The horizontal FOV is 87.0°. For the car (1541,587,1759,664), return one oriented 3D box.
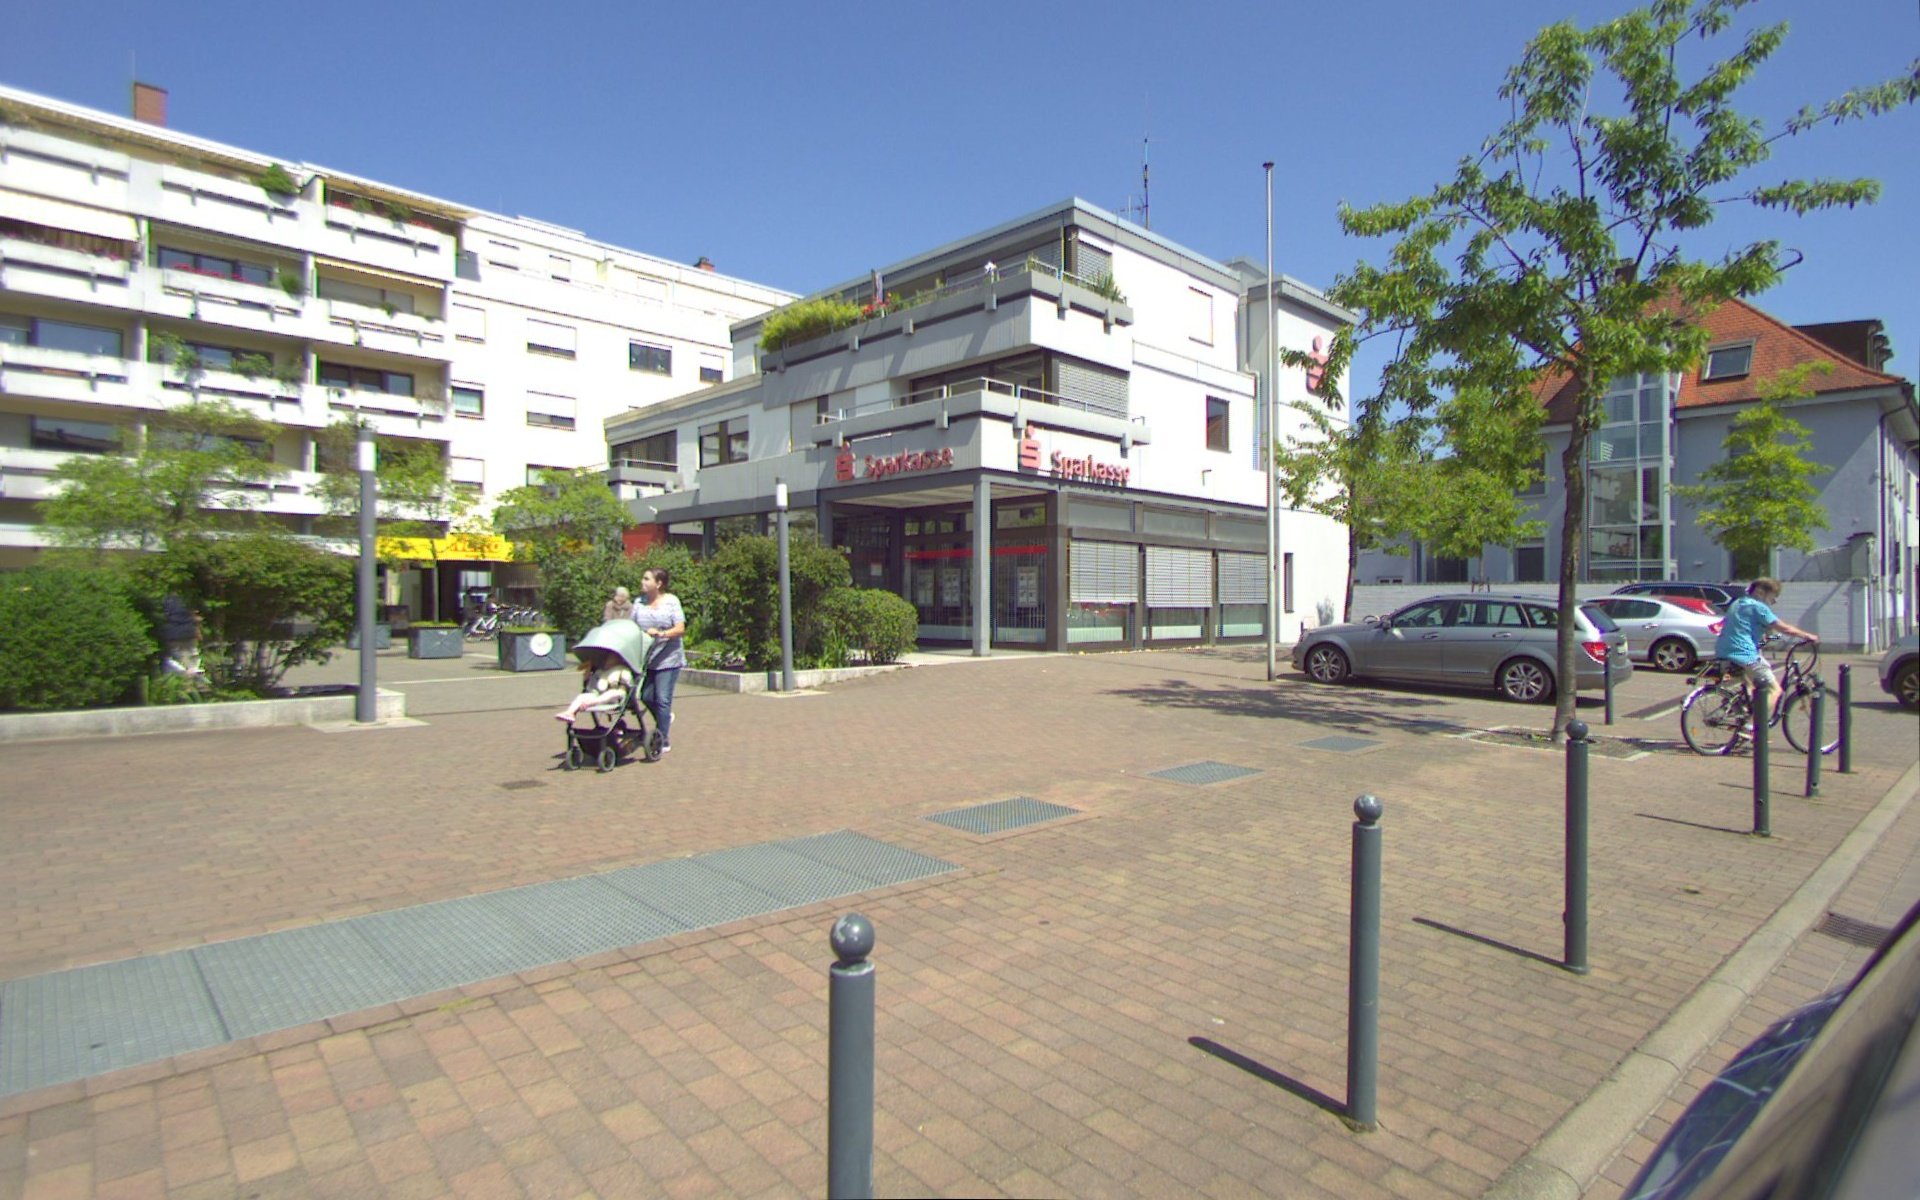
[{"bbox_3d":[15.093,0.494,22.247,3.729,1.470,1.717,2,2,44],"label":"car"}]

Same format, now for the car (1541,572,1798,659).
[{"bbox_3d":[16.651,0.299,23.920,2.111,1.793,4.636,1,1,-43],"label":"car"}]

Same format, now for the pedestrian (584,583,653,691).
[{"bbox_3d":[-5.005,0.525,14.833,0.808,1.516,0.659,-1,-1,43],"label":"pedestrian"}]

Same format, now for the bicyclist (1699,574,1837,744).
[{"bbox_3d":[7.590,0.534,9.532,0.746,1.546,0.671,0,0,-5],"label":"bicyclist"}]

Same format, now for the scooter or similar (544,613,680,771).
[{"bbox_3d":[-2.656,0.669,7.825,0.617,1.120,1.042,0,0,6],"label":"scooter or similar"}]

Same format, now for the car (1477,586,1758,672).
[{"bbox_3d":[13.223,0.507,20.541,4.536,1.458,1.811,3,2,44],"label":"car"}]

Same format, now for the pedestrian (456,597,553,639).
[{"bbox_3d":[-14.761,0.562,32.879,0.982,1.290,2.735,0,0,40],"label":"pedestrian"}]

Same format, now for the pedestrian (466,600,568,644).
[{"bbox_3d":[-13.609,0.651,31.149,0.982,1.290,2.735,0,0,40],"label":"pedestrian"}]

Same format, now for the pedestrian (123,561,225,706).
[{"bbox_3d":[-10.007,0.404,12.896,0.700,1.758,0.890,0,0,39],"label":"pedestrian"}]

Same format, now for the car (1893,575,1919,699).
[{"bbox_3d":[13.468,0.526,11.491,1.820,1.593,4.004,1,1,-5],"label":"car"}]

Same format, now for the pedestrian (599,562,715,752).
[{"bbox_3d":[-2.568,0.463,8.638,0.694,1.541,0.799,0,-1,7],"label":"pedestrian"}]

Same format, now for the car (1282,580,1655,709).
[{"bbox_3d":[7.351,0.520,14.964,4.576,1.531,1.887,3,2,44],"label":"car"}]

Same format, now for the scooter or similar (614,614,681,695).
[{"bbox_3d":[-4.409,0.744,14.274,0.802,1.088,0.582,0,-1,43],"label":"scooter or similar"}]

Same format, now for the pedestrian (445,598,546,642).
[{"bbox_3d":[-14.516,0.596,31.699,0.982,1.290,2.735,0,0,40],"label":"pedestrian"}]

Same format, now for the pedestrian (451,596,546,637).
[{"bbox_3d":[-15.275,0.524,33.555,0.982,1.290,2.735,0,0,40],"label":"pedestrian"}]

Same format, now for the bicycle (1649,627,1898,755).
[{"bbox_3d":[7.620,0.832,9.523,1.858,1.123,0.676,0,0,-5],"label":"bicycle"}]
